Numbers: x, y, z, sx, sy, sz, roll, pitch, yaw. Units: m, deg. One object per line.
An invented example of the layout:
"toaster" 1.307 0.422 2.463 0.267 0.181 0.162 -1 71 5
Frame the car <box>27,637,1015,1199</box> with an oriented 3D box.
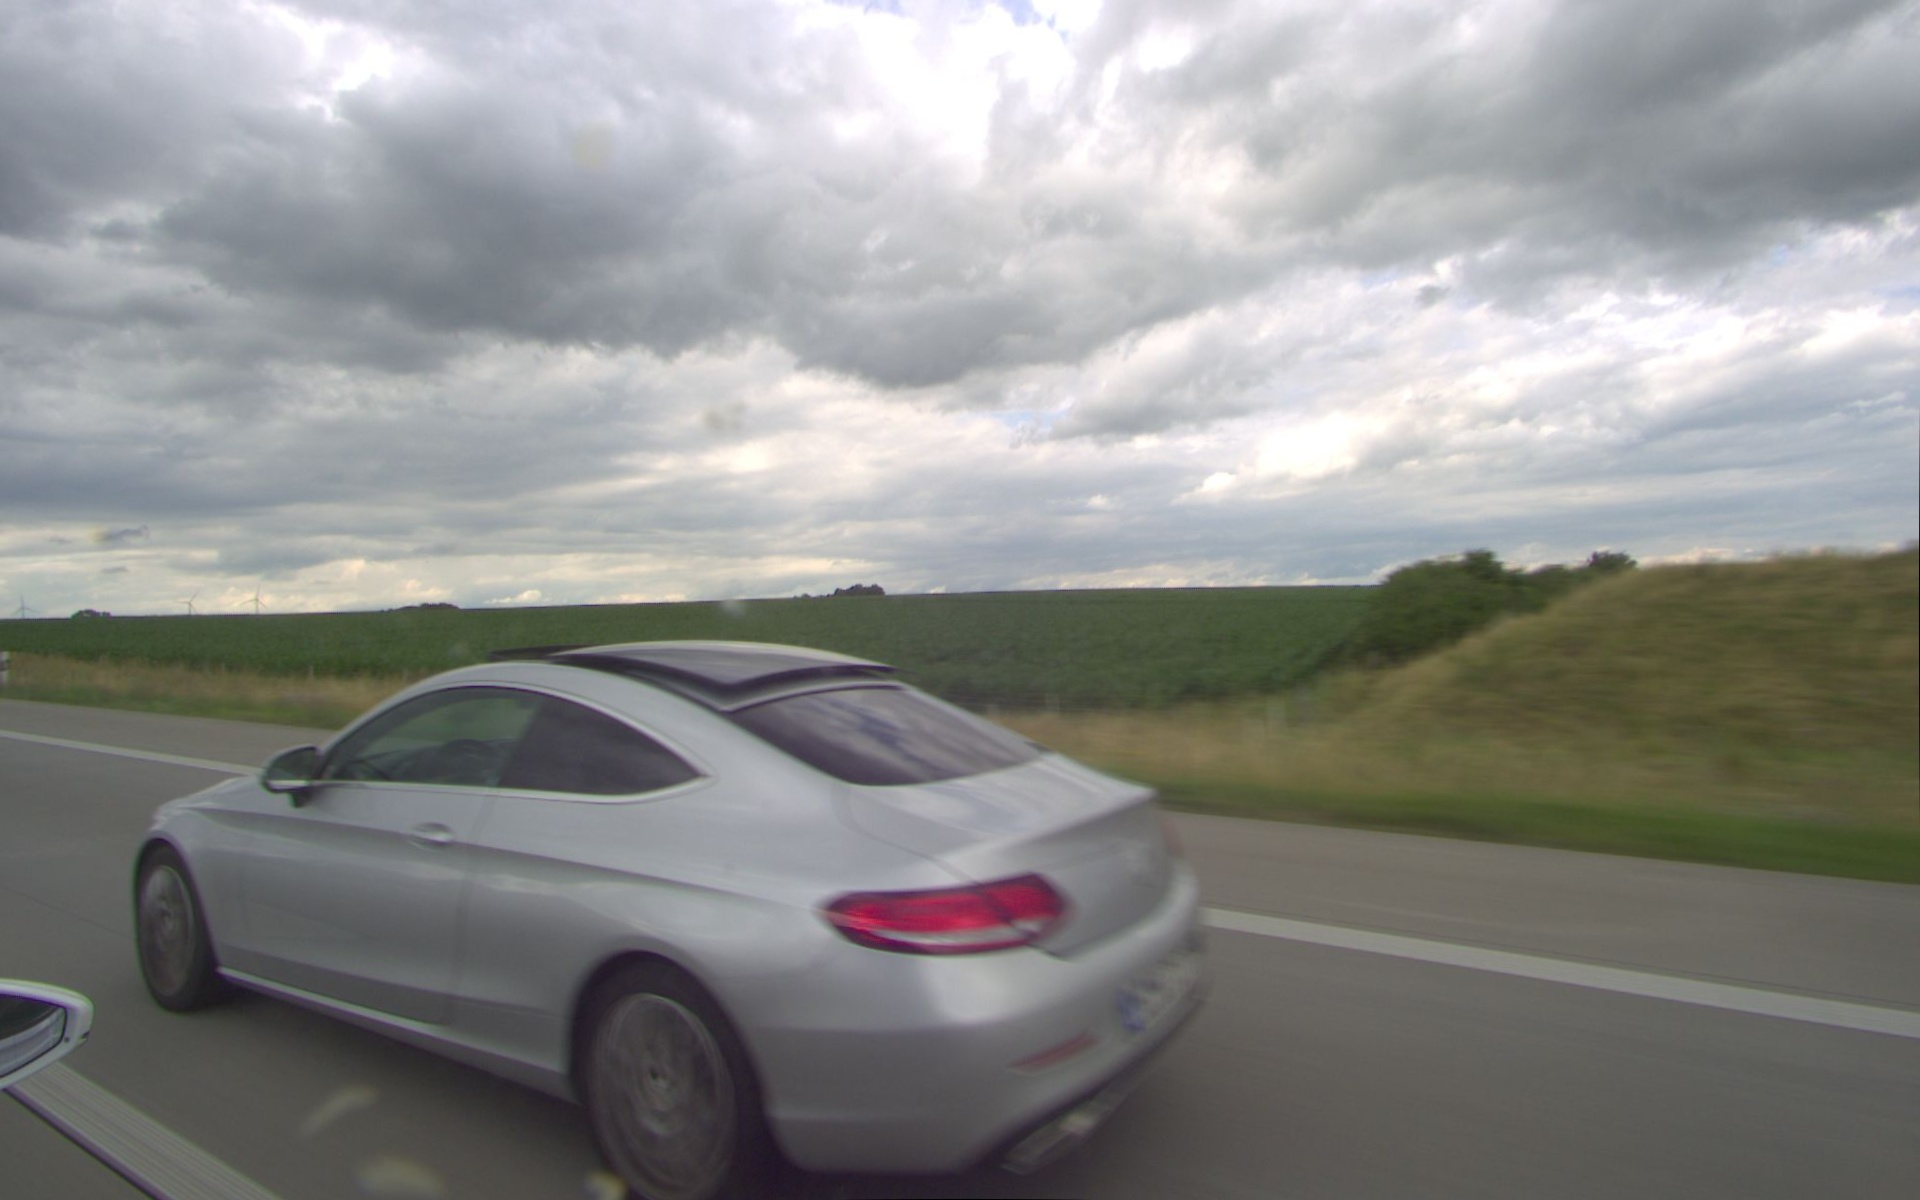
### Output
"car" -2.015 0.879 4.208 4.161 1.421 1.786 -1 -2 32
